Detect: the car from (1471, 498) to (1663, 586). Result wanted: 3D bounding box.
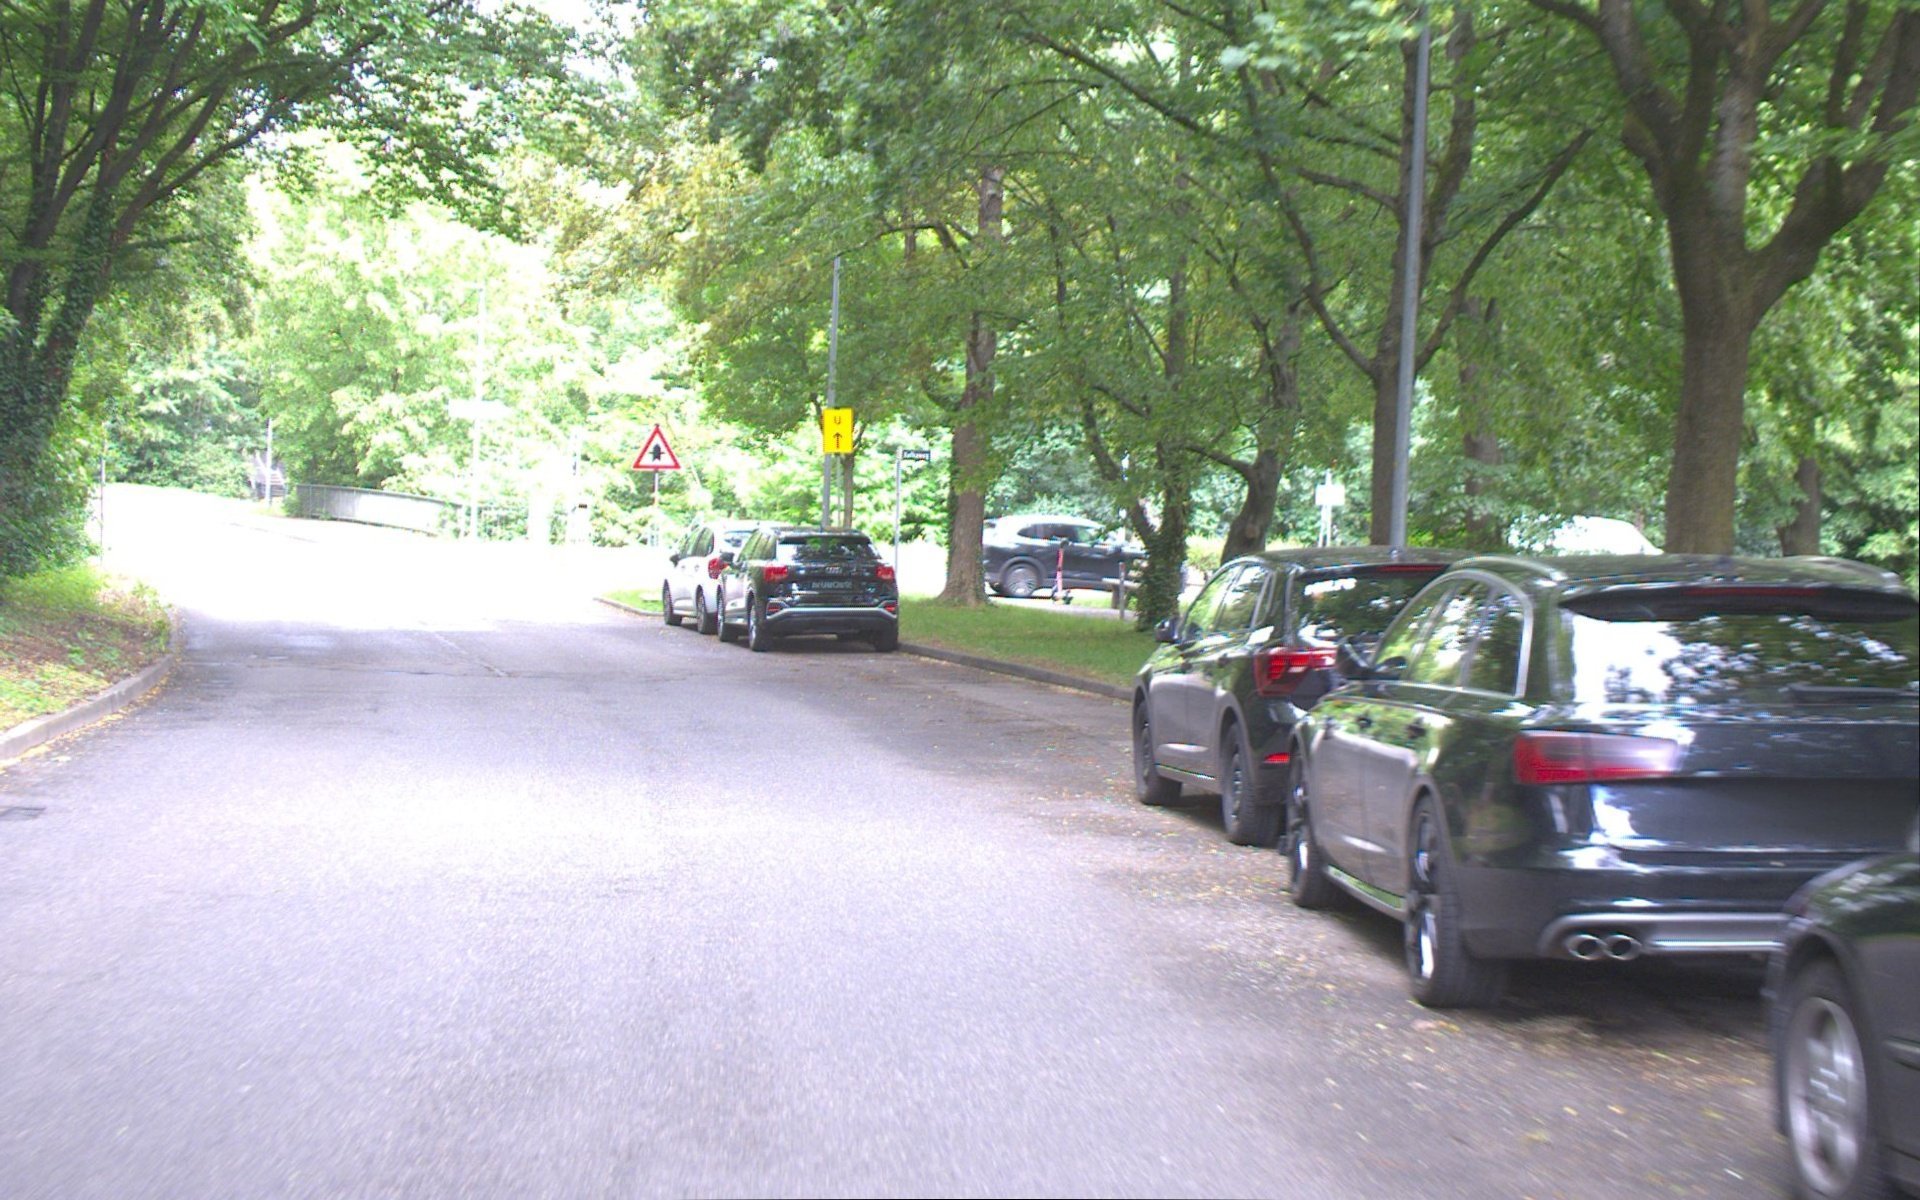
[{"bbox_3d":[15.109,-1.458,85.685,4.205,2.006,2.001,2,2,-8],"label":"car"}]

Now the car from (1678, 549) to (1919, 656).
[{"bbox_3d":[16.528,0.046,67.391,4.395,1.842,1.833,2,2,-4],"label":"car"}]

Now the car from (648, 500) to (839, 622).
[{"bbox_3d":[-3.018,-0.560,47.294,1.773,1.517,3.782,1,2,-17],"label":"car"}]

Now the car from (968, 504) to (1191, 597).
[{"bbox_3d":[2.368,-0.999,68.839,4.221,1.680,1.799,2,2,-4],"label":"car"}]

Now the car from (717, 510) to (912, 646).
[{"bbox_3d":[-1.876,-0.312,43.022,1.773,1.517,4.185,2,2,-11],"label":"car"}]

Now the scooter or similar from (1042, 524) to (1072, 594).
[{"bbox_3d":[1.828,-0.772,65.010,0.283,1.282,1.108,2,2,-11],"label":"scooter or similar"}]

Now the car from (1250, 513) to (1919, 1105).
[{"bbox_3d":[2.271,0.544,12.124,1.913,1.606,4.735,2,2,-2],"label":"car"}]

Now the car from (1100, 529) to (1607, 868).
[{"bbox_3d":[1.894,0.420,17.731,1.682,1.459,3.899,2,2,-7],"label":"car"}]

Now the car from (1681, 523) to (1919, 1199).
[{"bbox_3d":[2.693,0.639,5.877,1.589,1.460,4.318,0,2,-6],"label":"car"}]

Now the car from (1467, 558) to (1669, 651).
[{"bbox_3d":[11.769,0.077,66.732,3.516,1.564,1.832,3,2,-1],"label":"car"}]
